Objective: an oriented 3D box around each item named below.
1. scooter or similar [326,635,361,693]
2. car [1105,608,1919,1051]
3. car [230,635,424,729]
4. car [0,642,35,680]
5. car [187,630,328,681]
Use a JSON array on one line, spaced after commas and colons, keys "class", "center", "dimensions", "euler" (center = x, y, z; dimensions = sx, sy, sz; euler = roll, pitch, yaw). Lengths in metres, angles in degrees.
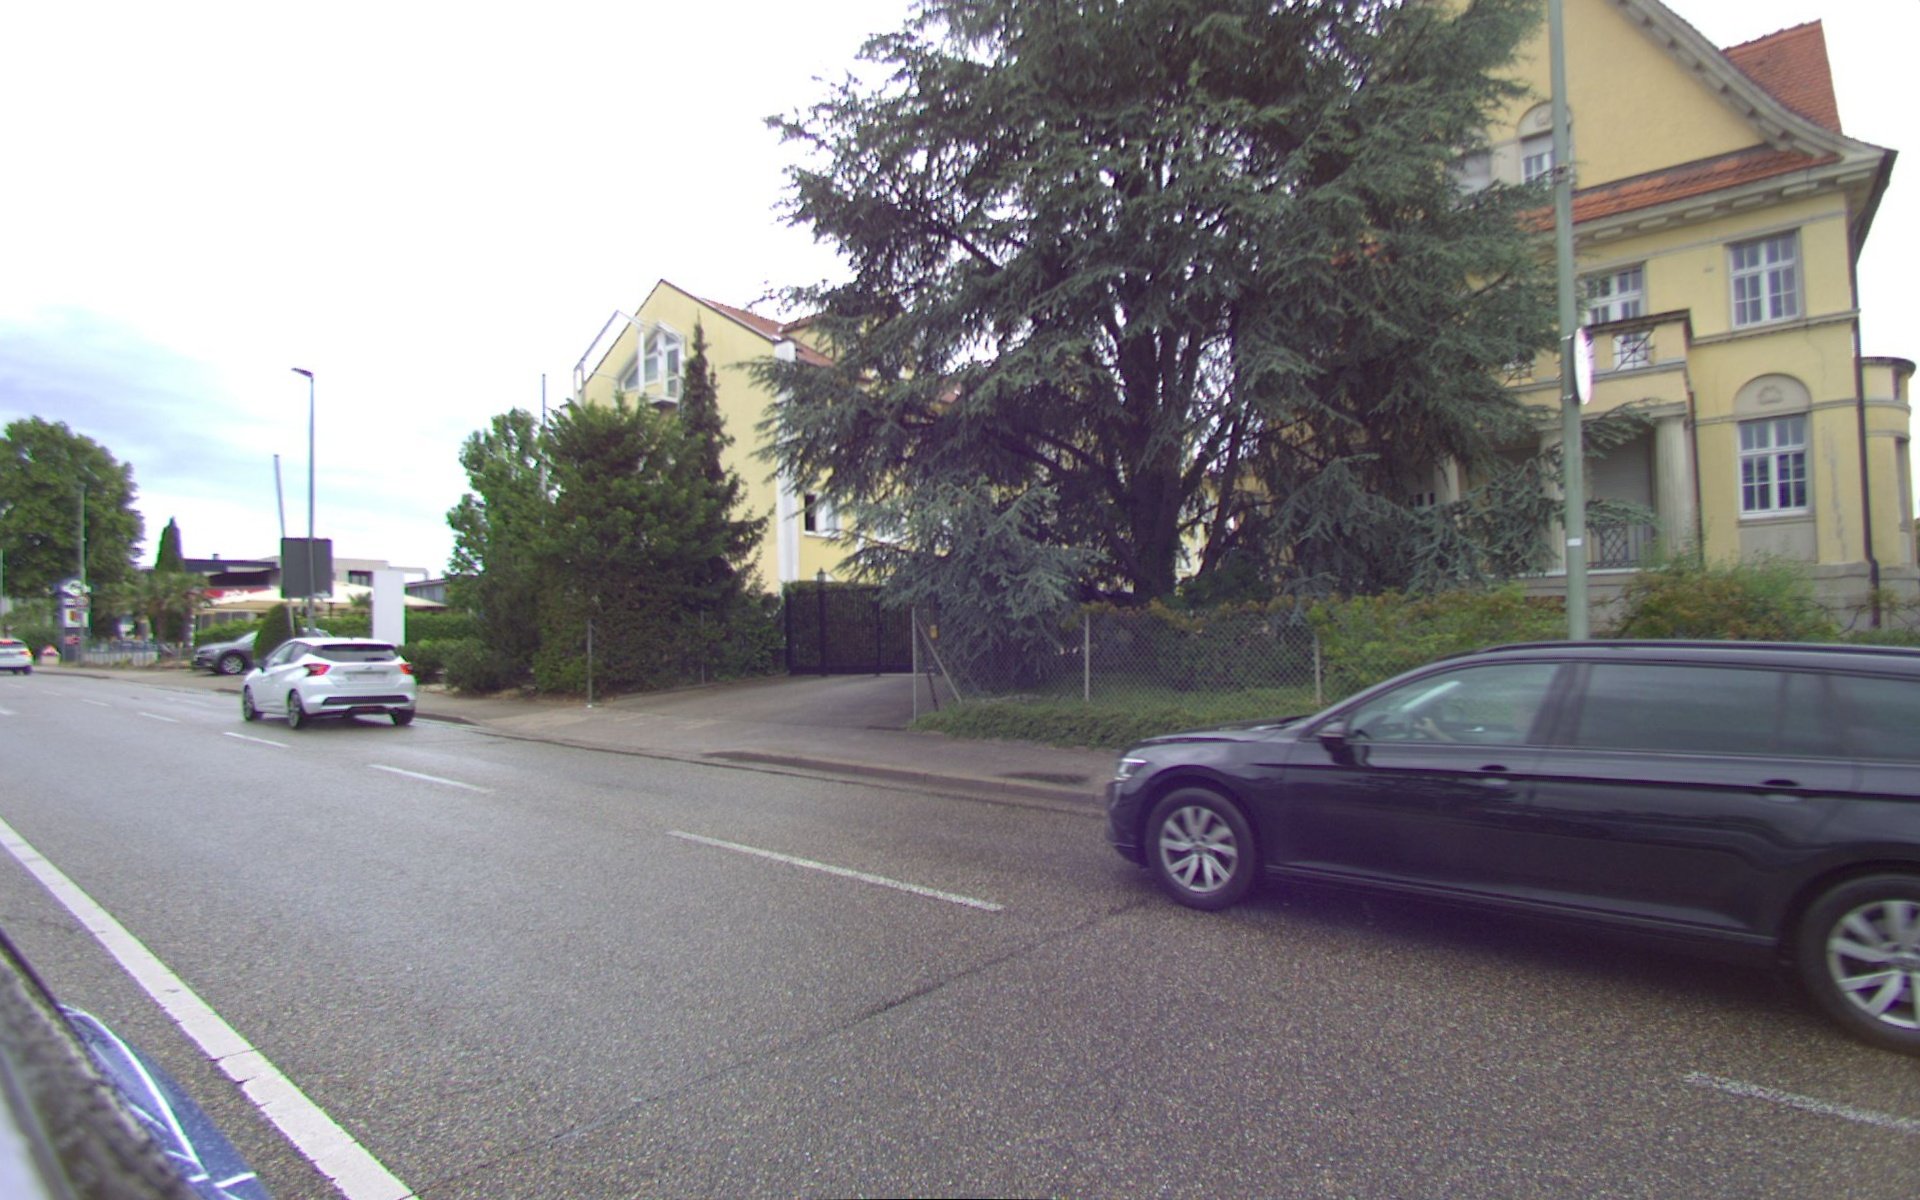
[{"class": "scooter or similar", "center": [-15.735, 1.596, 25.806], "dimensions": [0.498, 1.416, 1.884], "euler": [1, -2, -39]}, {"class": "car", "center": [3.067, 0.836, 4.826], "dimensions": [4.468, 1.513, 1.757], "euler": [-1, -3, 40]}, {"class": "car", "center": [-10.781, 1.337, 17.158], "dimensions": [3.799, 1.408, 1.728], "euler": [-3, -4, 40]}, {"class": "car", "center": [-39.662, 2.473, 41.418], "dimensions": [4.303, 1.465, 1.949], "euler": [-2, -3, 38]}, {"class": "car", "center": [-24.915, 1.921, 35.966], "dimensions": [3.876, 1.664, 1.720], "euler": [1, -2, -44]}]
